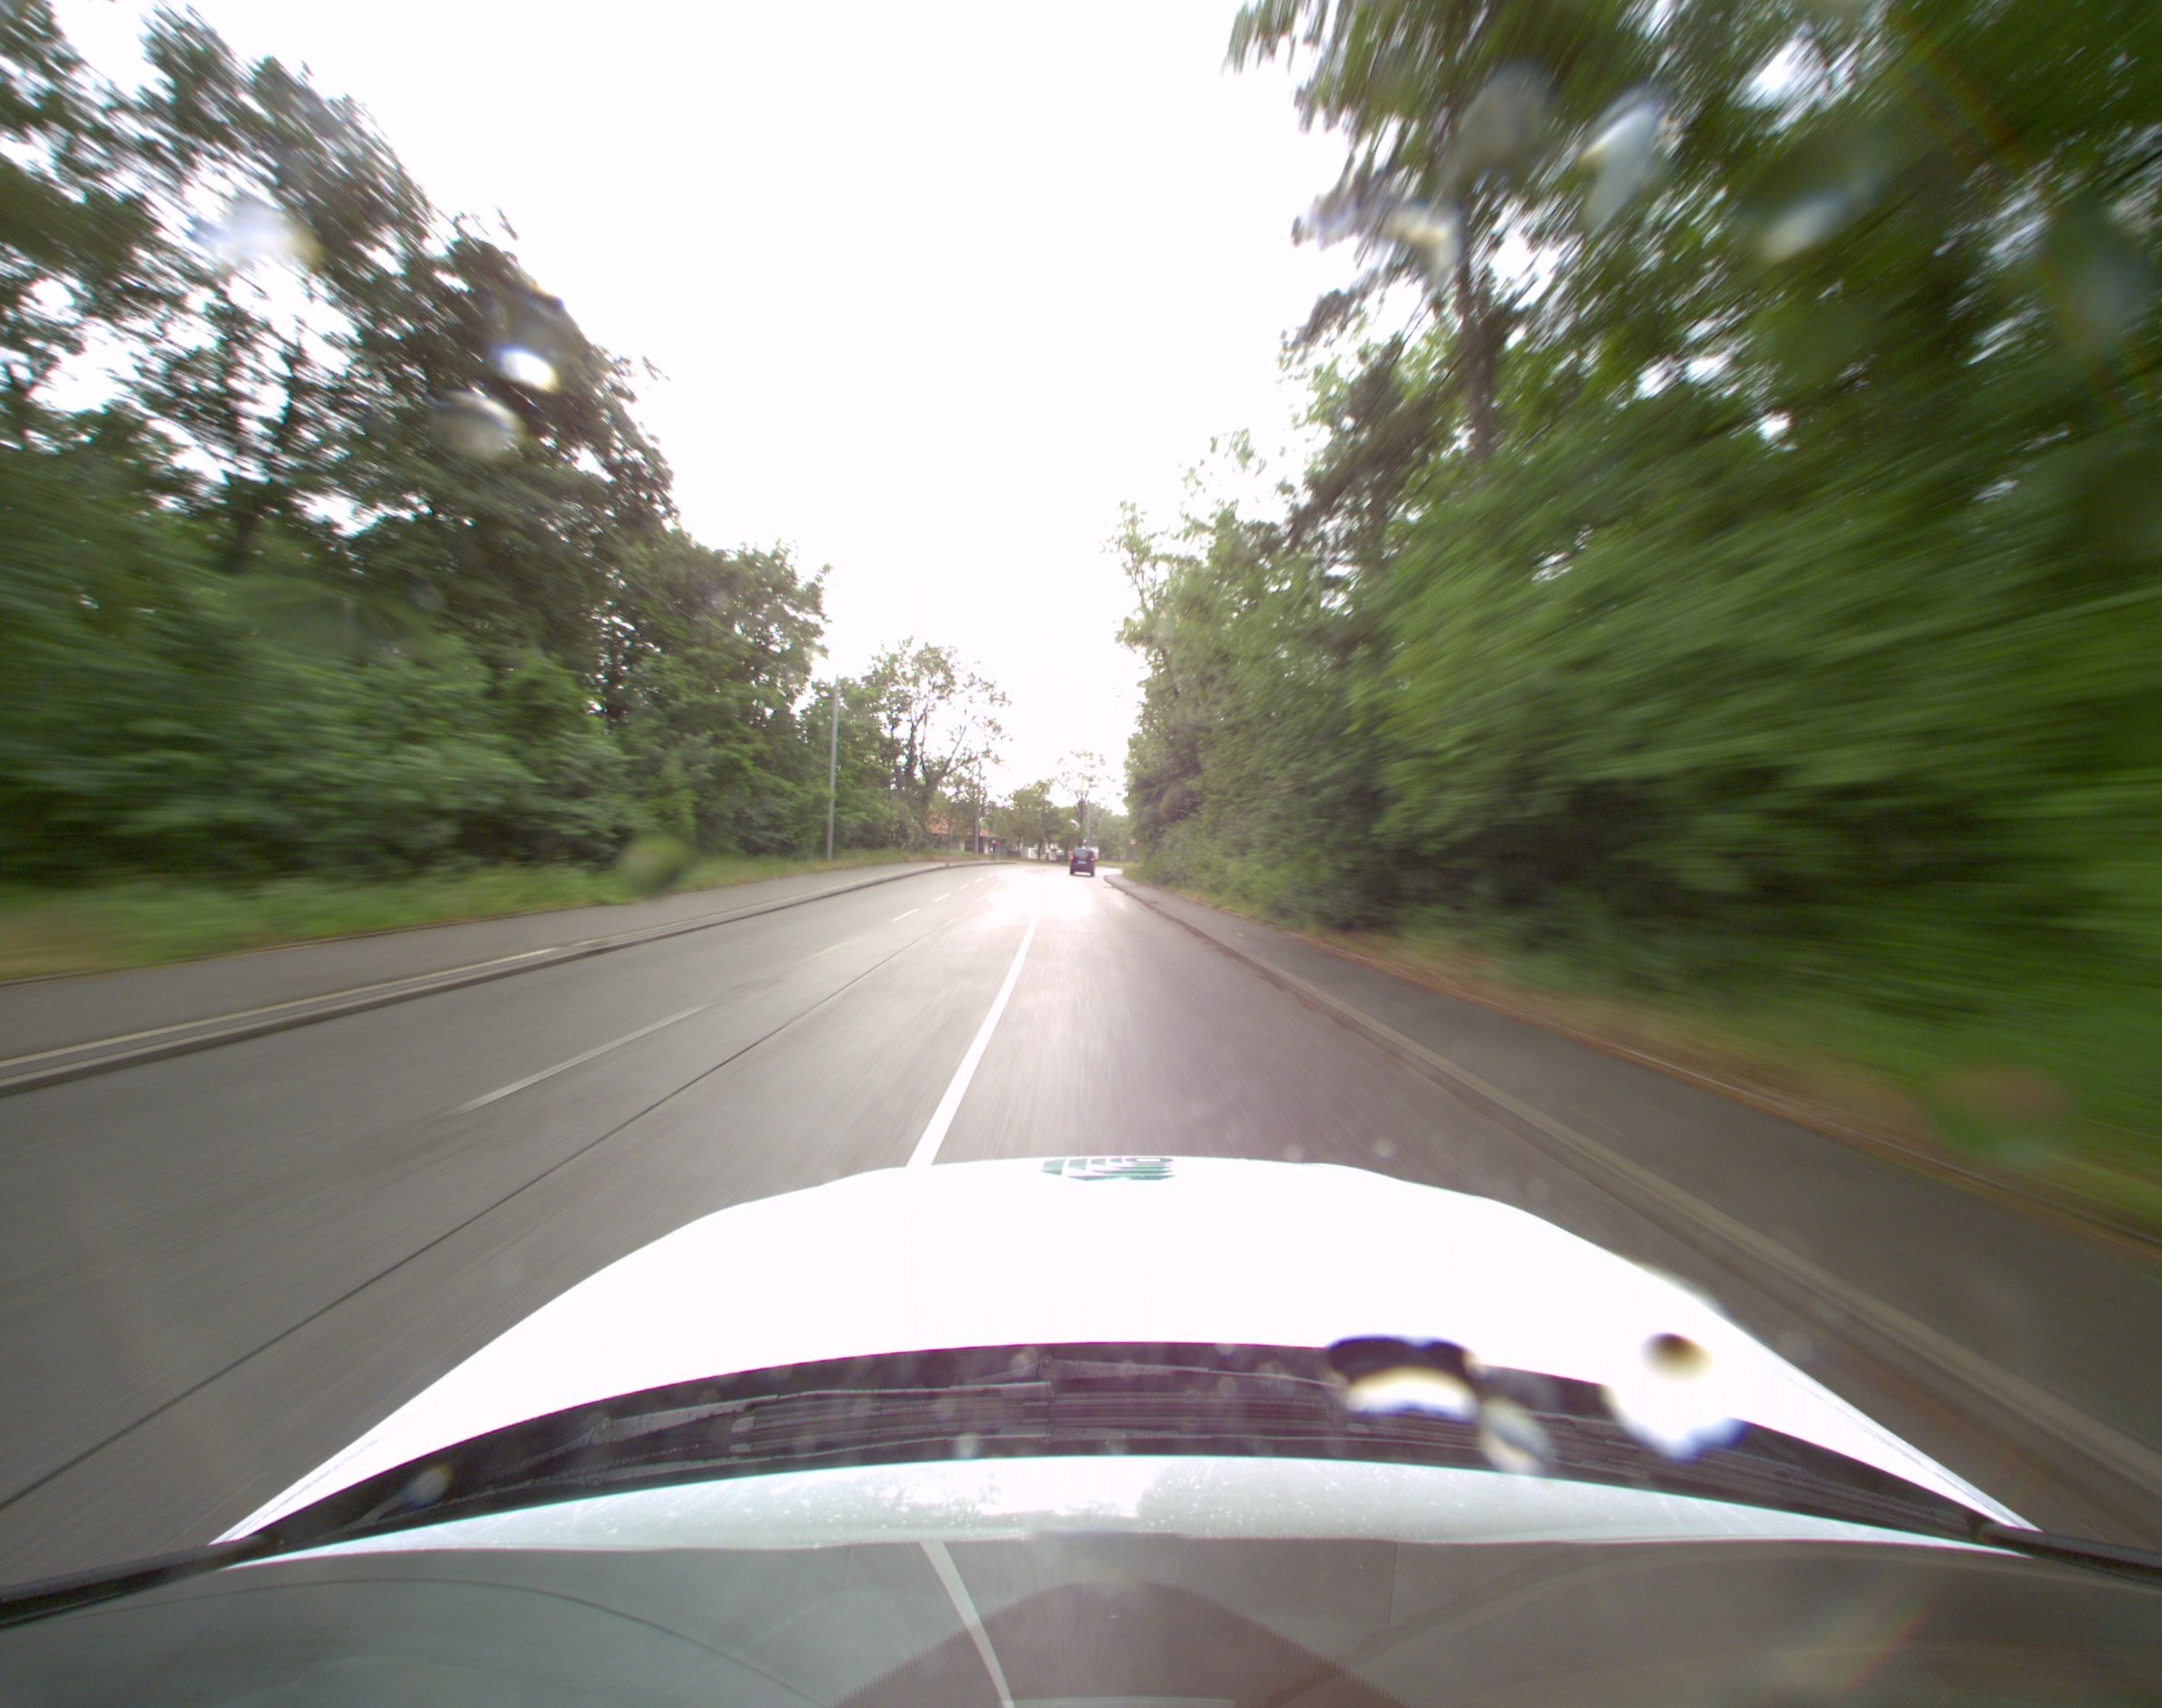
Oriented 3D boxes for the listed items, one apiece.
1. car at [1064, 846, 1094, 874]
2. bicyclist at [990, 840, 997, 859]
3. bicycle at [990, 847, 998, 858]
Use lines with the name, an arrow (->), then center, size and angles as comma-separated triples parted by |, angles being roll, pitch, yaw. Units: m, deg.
car -> -0.178, 0.425, 56.323 | 1.823, 1.794, 3.994 | -1, -2, -3
bicyclist -> -7.274, -0.353, 68.012 | 0.334, 1.574, 1.299 | 2, -1, 2
bicycle -> -7.294, -0.128, 68.035 | 0.354, 0.849, 2.094 | 2, 1, 2
